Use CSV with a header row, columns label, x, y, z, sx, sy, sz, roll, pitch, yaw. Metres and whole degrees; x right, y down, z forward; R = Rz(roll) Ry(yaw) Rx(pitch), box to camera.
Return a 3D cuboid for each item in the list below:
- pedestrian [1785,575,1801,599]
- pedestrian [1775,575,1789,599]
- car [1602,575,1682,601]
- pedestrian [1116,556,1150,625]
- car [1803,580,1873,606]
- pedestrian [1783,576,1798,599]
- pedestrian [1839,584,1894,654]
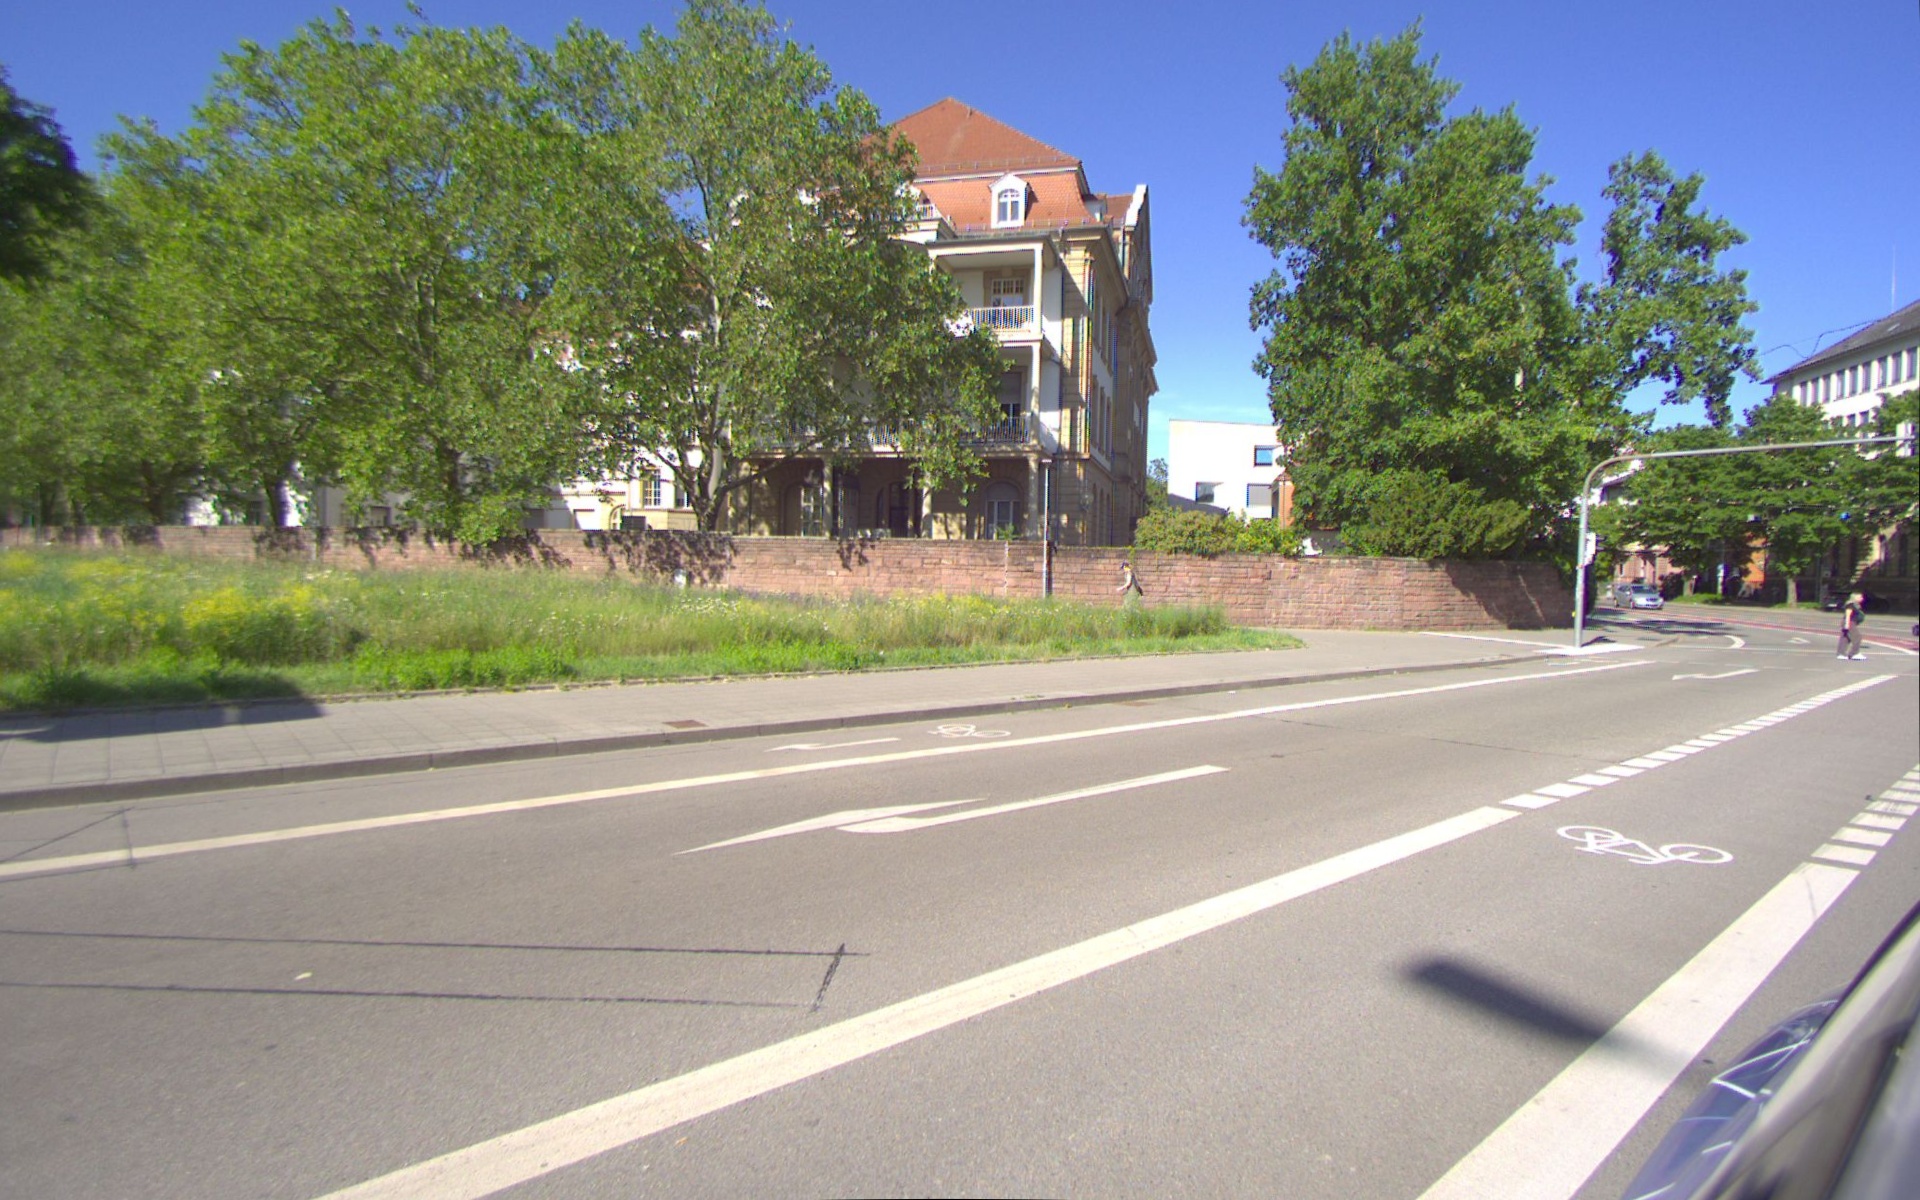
label,x,y,z,sx,sy,sz,roll,pitch,yaw
pedestrian,67.424,-1.037,81.919,0.568,1.927,0.849,1,1,12
pedestrian,66.739,-1.036,82.178,0.568,1.927,0.781,1,1,12
car,45.126,-0.790,67.119,1.962,1.610,4.851,0,0,0
pedestrian,4.817,-0.280,28.254,0.772,1.881,0.631,1,1,-2
car,59.884,-0.529,69.120,1.806,1.615,3.988,2,2,11
pedestrian,69.415,-1.073,84.554,0.568,1.927,0.849,1,1,12
pedestrian,22.825,0.457,25.488,0.619,1.687,0.931,0,2,-41
